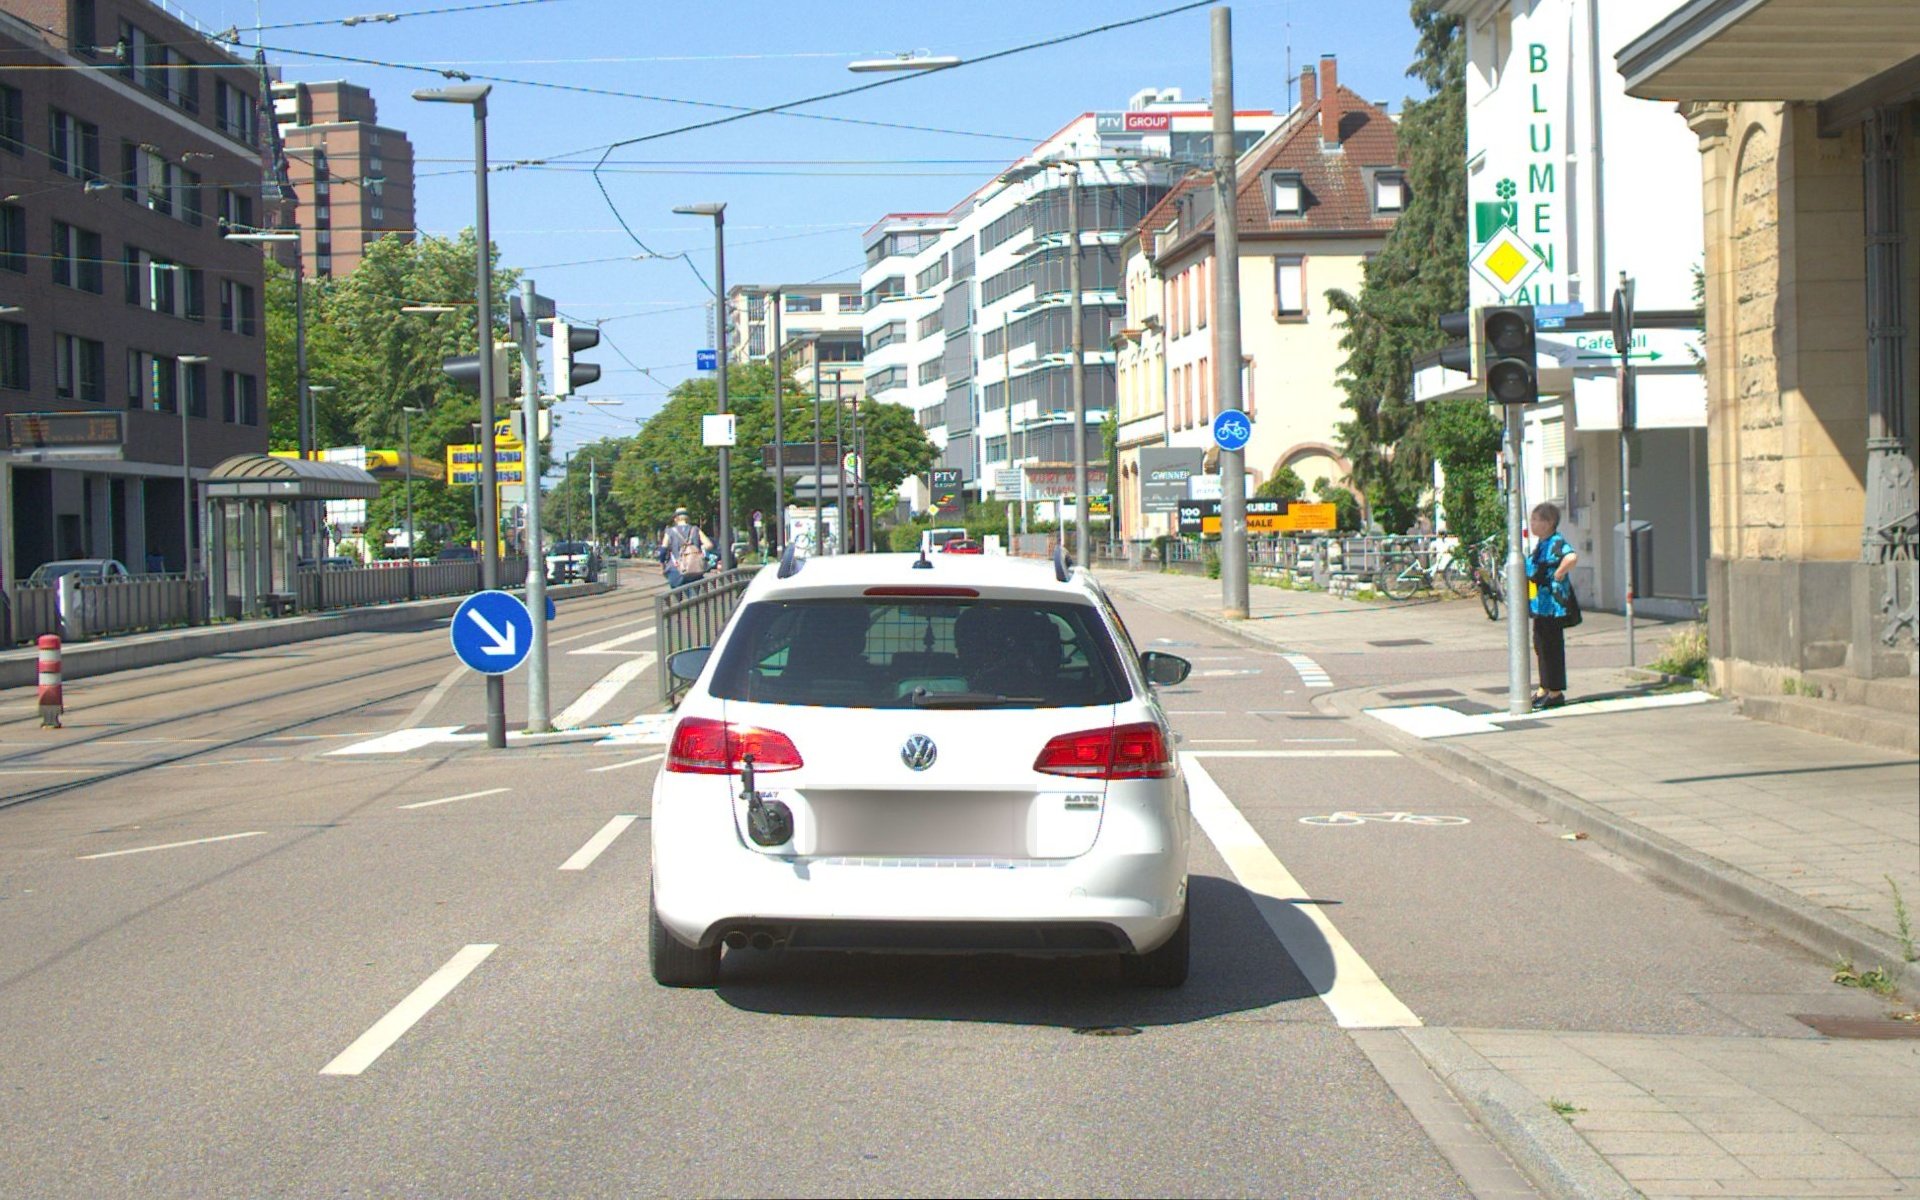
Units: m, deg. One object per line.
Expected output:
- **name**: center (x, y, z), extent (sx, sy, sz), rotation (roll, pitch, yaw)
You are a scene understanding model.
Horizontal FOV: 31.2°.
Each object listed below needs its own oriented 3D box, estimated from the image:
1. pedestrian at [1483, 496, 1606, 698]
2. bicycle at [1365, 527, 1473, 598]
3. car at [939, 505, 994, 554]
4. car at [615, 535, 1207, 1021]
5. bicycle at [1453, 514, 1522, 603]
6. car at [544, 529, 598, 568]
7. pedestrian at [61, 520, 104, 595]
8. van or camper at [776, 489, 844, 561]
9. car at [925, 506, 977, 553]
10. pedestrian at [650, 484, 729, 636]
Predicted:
- **pedestrian**: center (4.484, -0.031, 26.340), extent (0.780, 1.505, 0.858), rotation (-1, 1, 18)
- **bicycle**: center (7.621, -0.625, 57.161), extent (1.712, 1.126, 0.525), rotation (-2, 1, 2)
- **car**: center (0.260, -3.039, 147.920), extent (1.993, 2.007, 4.001), rotation (-2, 1, -4)
- **car**: center (-0.131, 0.495, 12.193), extent (1.753, 1.413, 3.853), rotation (1, 1, 1)
- **bicycle**: center (7.066, -0.563, 46.000), extent (0.726, 1.135, 2.193), rotation (-1, 1, 13)
- **car**: center (-15.658, -2.088, 138.524), extent (1.668, 1.461, 3.773), rotation (-2, 1, 0)
- **pedestrian**: center (-21.291, -1.028, 83.422), extent (0.725, 1.784, 0.964), rotation (-2, 1, 0)
- **van or camper**: center (-6.892, -3.459, 157.704), extent (2.943, 3.169, 6.614), rotation (-2, 1, -3)
- **car**: center (-0.422, -3.136, 153.347), extent (1.993, 2.007, 4.001), rotation (-2, 1, -4)
- **pedestrian**: center (-3.284, -0.494, 41.749), extent (0.826, 1.803, 0.833), rotation (-2, 1, 1)
